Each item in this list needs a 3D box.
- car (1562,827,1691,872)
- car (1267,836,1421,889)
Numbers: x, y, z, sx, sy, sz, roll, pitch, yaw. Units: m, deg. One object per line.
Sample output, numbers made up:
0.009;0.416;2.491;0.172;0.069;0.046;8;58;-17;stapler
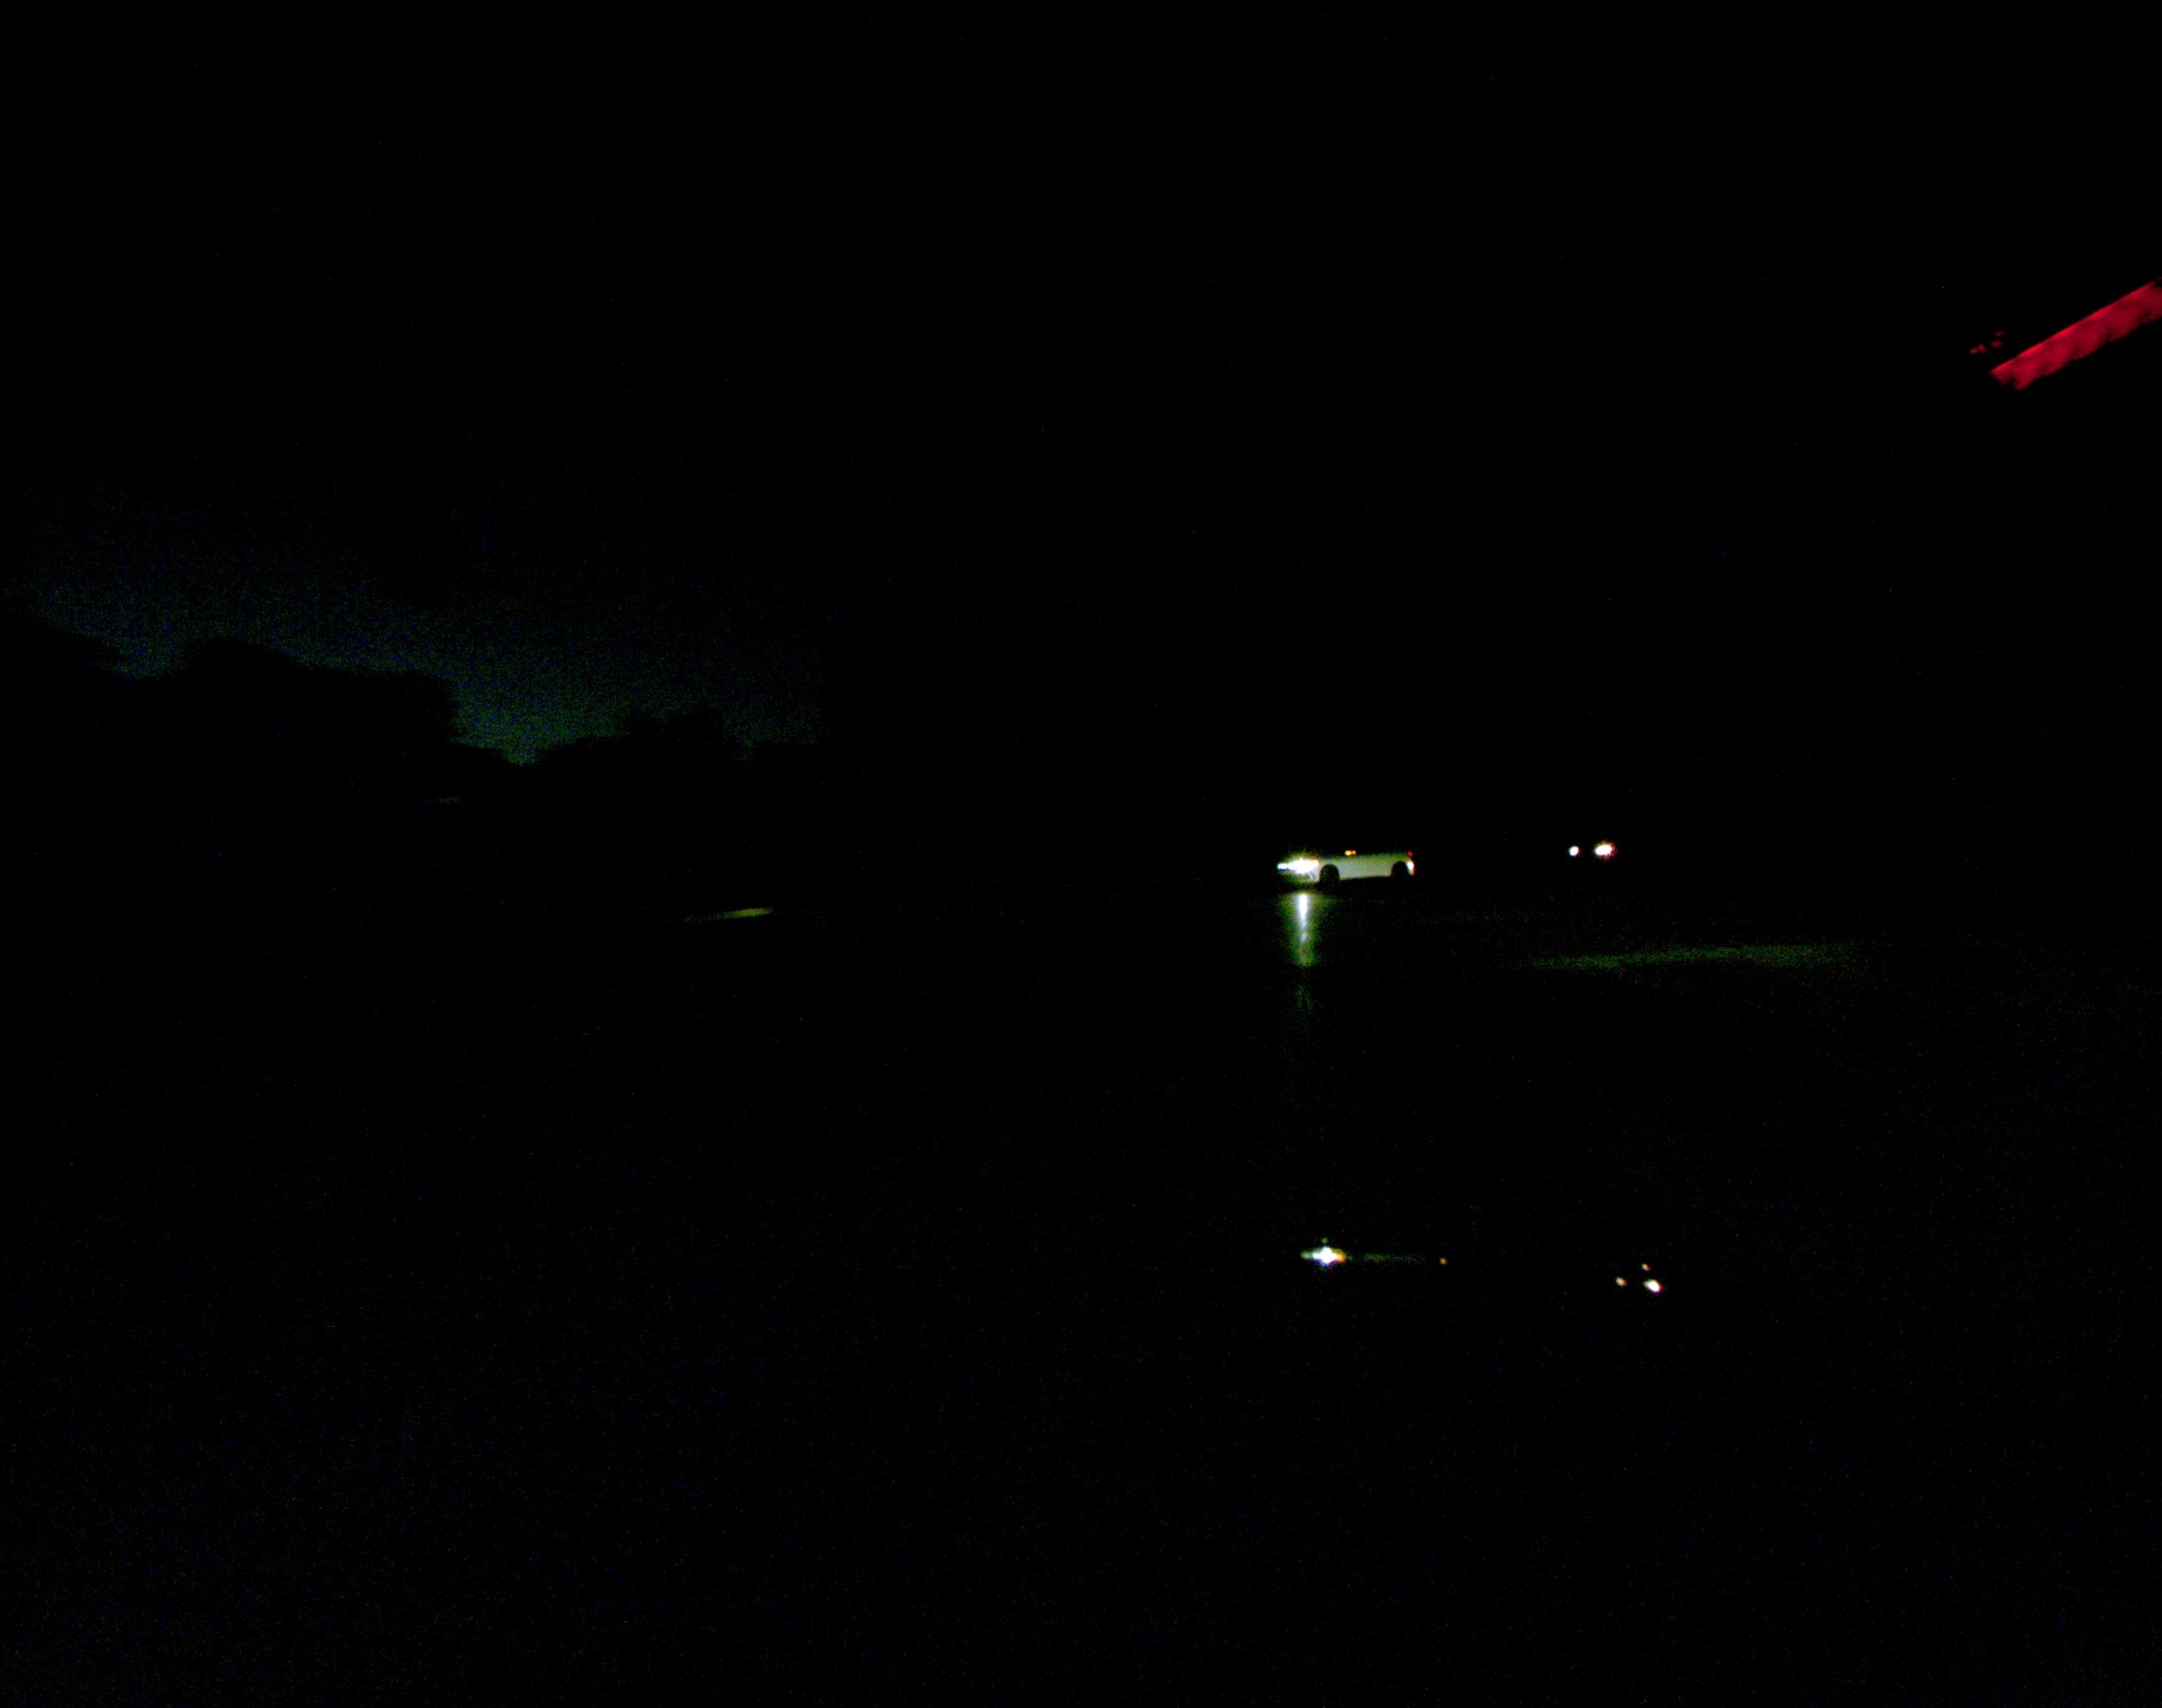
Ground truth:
18.681;-0.152;26.082;3.491;1.442;1.656;-1;0;-12;car
7.979;0.235;23.088;4.196;1.451;1.761;-1;0;-19;car
